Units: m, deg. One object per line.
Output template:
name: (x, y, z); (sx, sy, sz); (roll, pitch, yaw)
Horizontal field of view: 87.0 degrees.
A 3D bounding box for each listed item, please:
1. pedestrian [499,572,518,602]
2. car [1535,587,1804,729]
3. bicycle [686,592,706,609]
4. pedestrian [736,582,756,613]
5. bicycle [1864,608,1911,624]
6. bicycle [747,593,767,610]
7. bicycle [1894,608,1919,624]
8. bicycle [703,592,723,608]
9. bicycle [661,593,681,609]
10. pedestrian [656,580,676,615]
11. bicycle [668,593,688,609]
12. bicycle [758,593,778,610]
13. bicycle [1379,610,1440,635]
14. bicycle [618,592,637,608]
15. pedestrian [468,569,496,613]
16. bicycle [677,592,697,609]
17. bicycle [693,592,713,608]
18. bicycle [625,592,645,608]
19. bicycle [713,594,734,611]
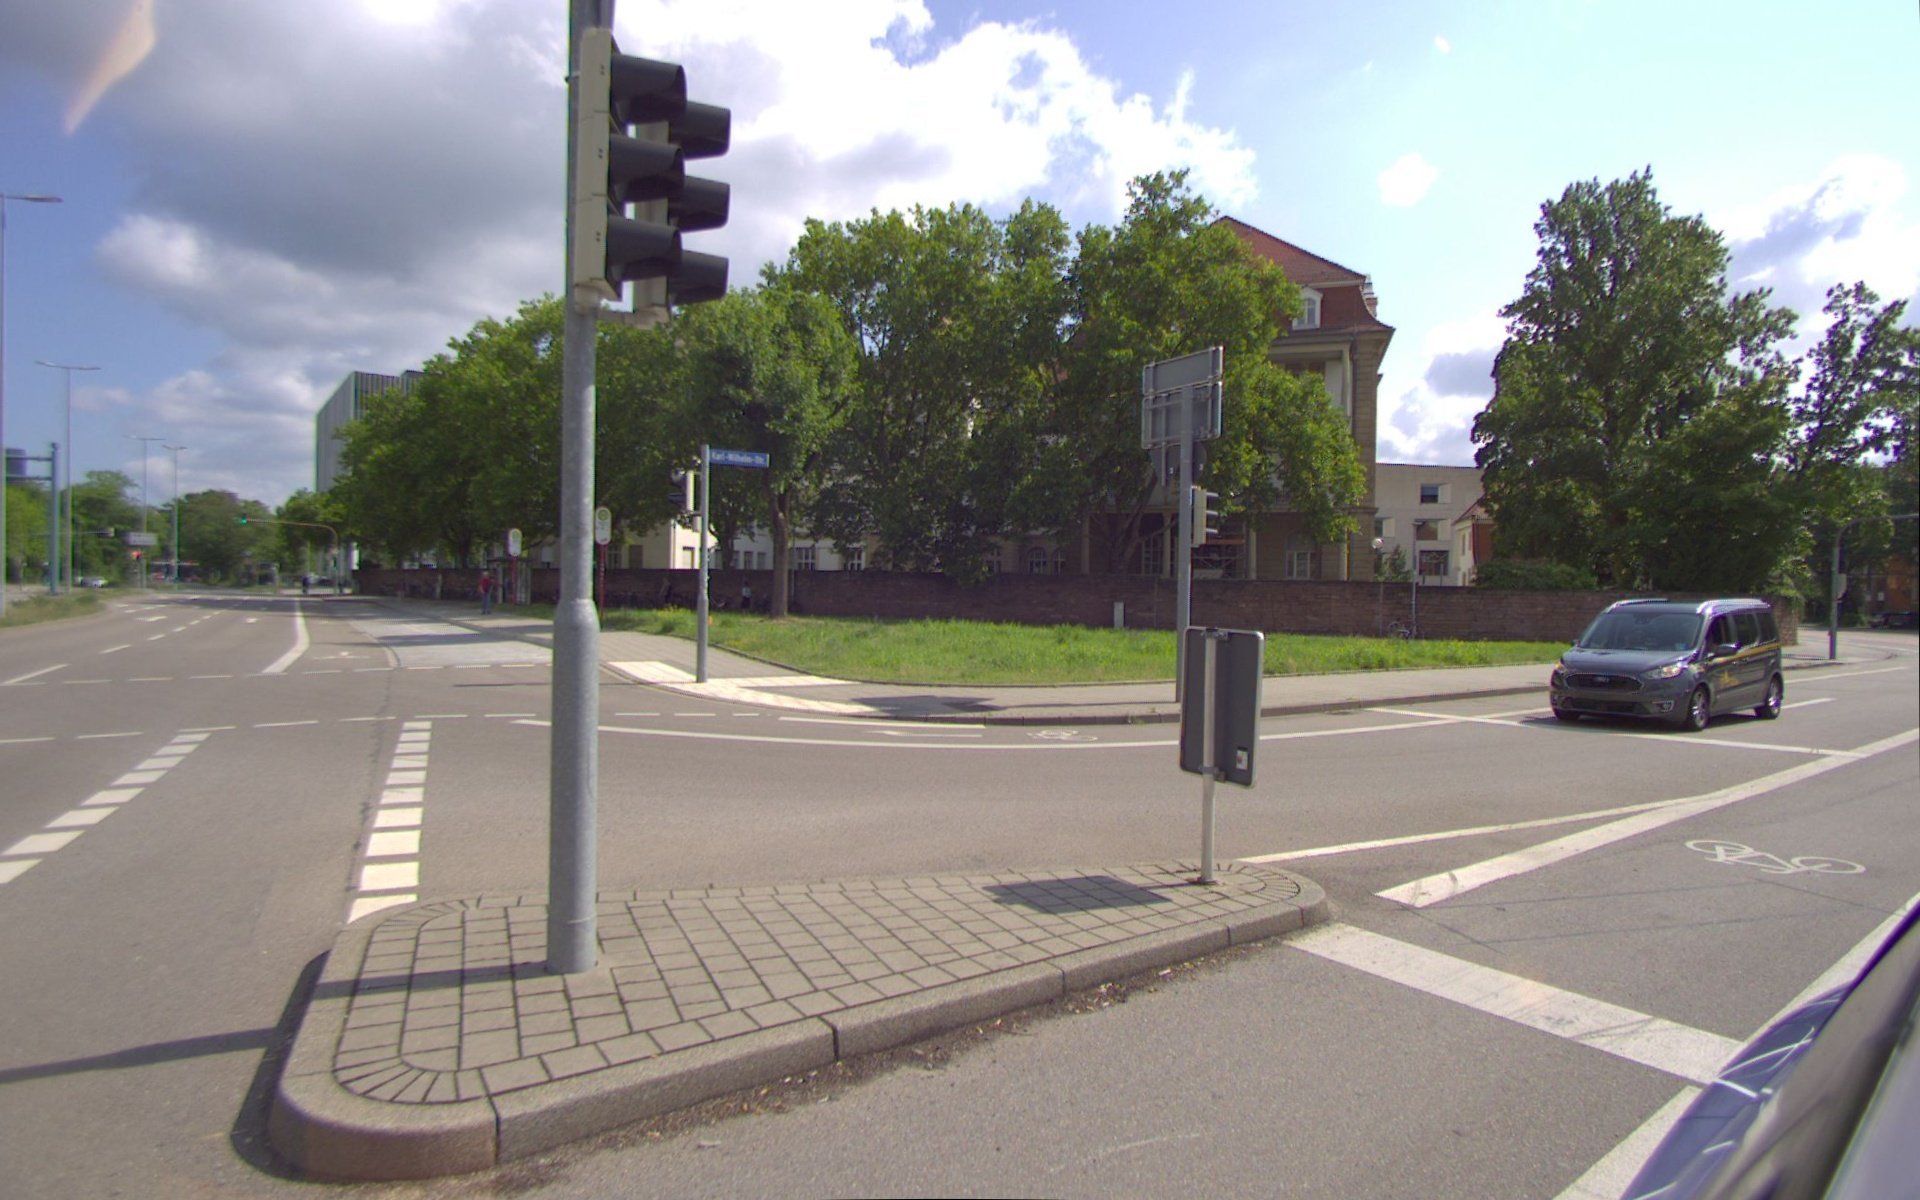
pedestrian: (-27.418, -0.794, 61.448); (0.870, 1.802, 0.770); (1, 0, -37)
car: (10.549, 0.757, 14.942); (4.583, 1.808, 1.854); (1, -1, -36)
bicycle: (-14.073, 0.017, 53.939); (0.479, 0.859, 0.962); (2, 1, 31)
pedestrian: (-10.794, -0.149, 51.026); (0.717, 1.553, 0.719); (1, 1, 27)
bicycle: (81.551, 1.423, 89.018); (1.052, 1.221, 2.899); (-3, 3, -29)
bicycle: (-10.325, 0.092, 51.493); (0.479, 0.859, 0.962); (2, 1, 31)
bicycle: (81.267, 1.388, 85.835); (1.029, 1.221, 2.899); (-3, 3, -29)
bicycle: (-12.981, 0.002, 53.246); (0.479, 0.859, 0.962); (2, 1, 31)
bicycle: (-15.686, 0.042, 54.886); (0.479, 0.859, 0.962); (2, 1, 31)
pedestrian: (-15.141, -0.121, 52.165); (0.737, 1.744, 0.655); (2, 1, 34)
bicycle: (-15.209, 0.035, 54.611); (0.479, 0.859, 0.962); (2, 1, 31)
bicycle: (-9.713, 0.063, 51.200); (0.479, 0.859, 0.962); (2, 1, 31)
bicycle: (17.880, 0.891, 40.284); (2.025, 0.871, 0.857); (2, 2, 7)
bicycle: (-18.631, 0.016, 56.727); (0.479, 0.859, 0.962); (2, 1, 31)
pedestrian: (-20.021, -0.378, 42.371); (0.961, 1.802, 0.739); (1, 1, 38)
bicycle: (-14.652, 0.026, 54.283); (0.479, 0.859, 0.962); (2, 1, 31)
bicycle: (-13.625, 0.009, 53.594); (0.479, 0.859, 0.962); (2, 1, 31)
bicycle: (-18.130, 0.010, 56.447); (0.479, 0.859, 0.962); (2, 1, 31)
bicycle: (-12.328, 0.112, 52.741); (0.496, 0.859, 1.062); (1, 1, 31)
